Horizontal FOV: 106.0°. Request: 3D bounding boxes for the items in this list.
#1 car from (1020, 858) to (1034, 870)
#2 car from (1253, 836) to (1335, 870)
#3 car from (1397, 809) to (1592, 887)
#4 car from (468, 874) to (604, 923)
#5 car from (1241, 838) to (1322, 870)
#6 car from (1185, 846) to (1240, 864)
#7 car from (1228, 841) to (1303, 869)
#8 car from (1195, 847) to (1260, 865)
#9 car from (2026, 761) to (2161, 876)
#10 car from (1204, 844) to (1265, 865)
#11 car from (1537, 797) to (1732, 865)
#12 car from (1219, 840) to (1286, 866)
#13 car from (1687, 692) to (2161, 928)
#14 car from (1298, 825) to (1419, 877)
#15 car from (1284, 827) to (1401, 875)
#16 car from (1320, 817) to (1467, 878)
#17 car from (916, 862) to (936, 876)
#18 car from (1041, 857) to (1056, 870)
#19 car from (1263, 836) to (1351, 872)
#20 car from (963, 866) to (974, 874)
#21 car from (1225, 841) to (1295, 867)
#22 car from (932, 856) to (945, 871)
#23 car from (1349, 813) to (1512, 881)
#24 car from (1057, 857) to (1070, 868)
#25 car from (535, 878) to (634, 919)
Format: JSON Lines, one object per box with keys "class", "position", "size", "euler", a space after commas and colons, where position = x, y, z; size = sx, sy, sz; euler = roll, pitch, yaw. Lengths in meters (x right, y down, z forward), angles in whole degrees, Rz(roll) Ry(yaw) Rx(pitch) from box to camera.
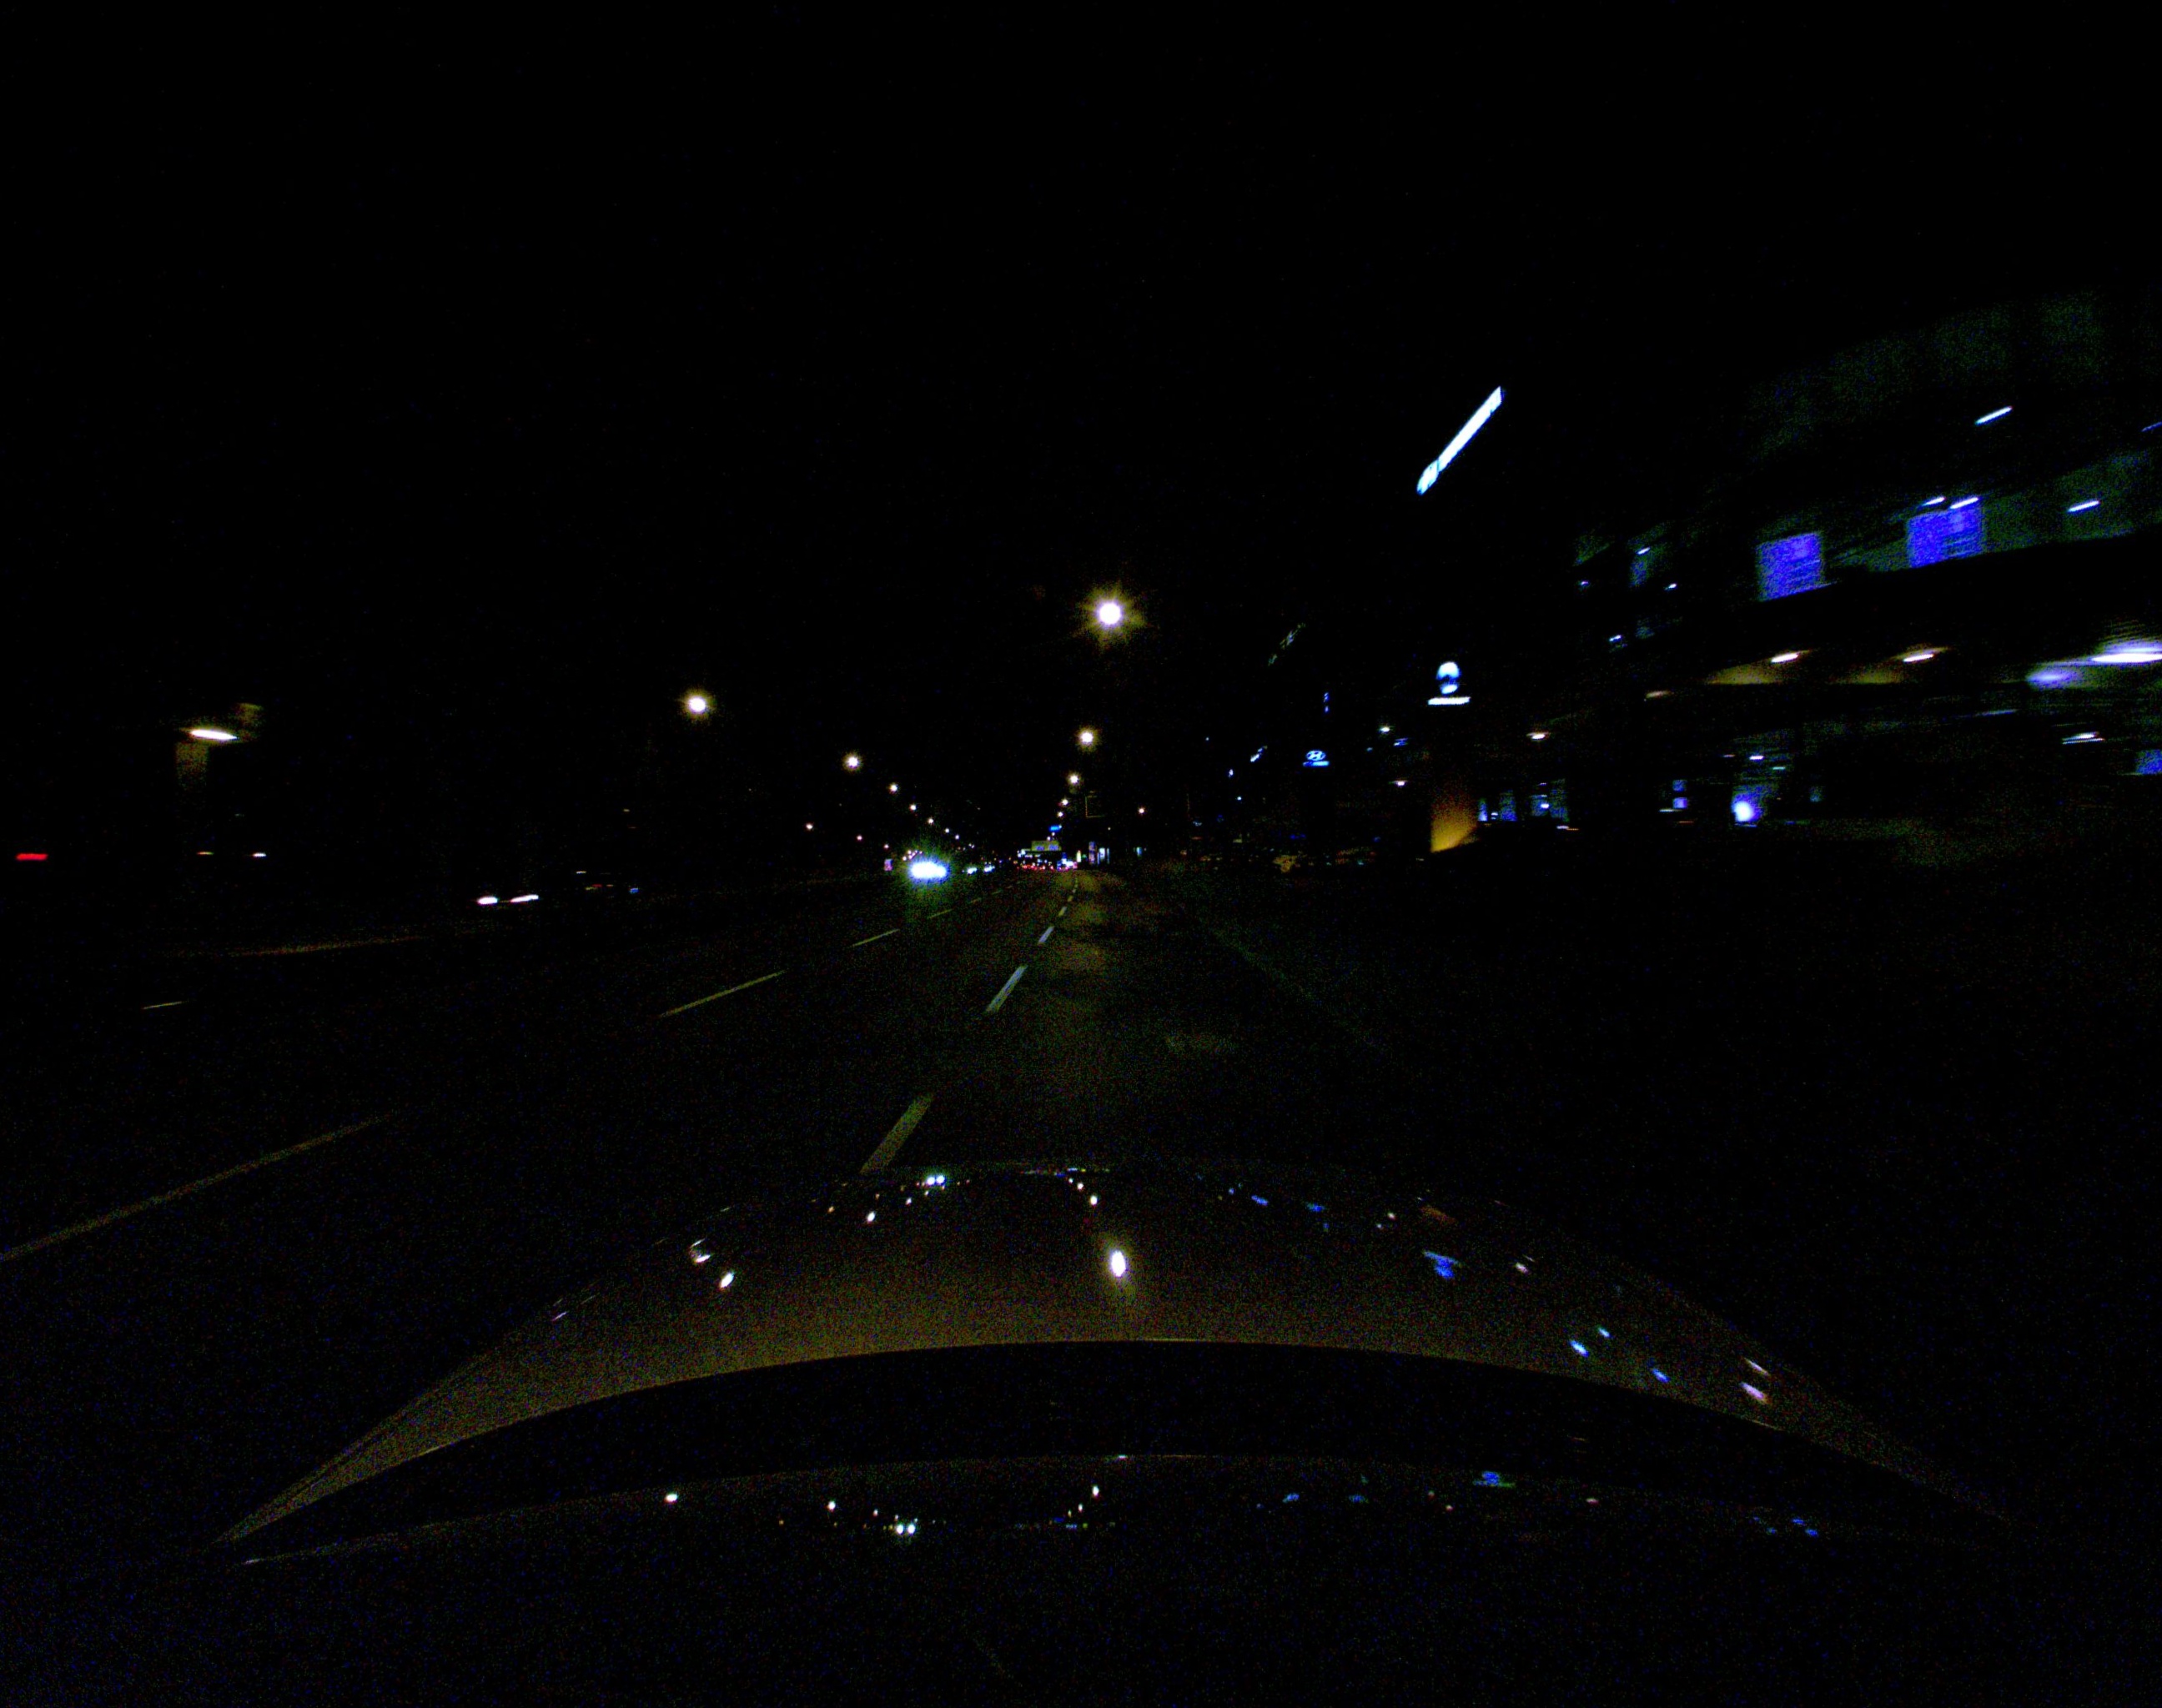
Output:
{"class": "car", "position": [-9.620, 1.833, 145.325], "size": [2.255, 2.014, 4.824], "euler": [-1, -1, 0]}
{"class": "car", "position": [11.298, -0.042, 43.302], "size": [3.773, 1.378, 1.709], "euler": [-6, 0, -14]}
{"class": "car", "position": [10.865, -0.158, 21.529], "size": [4.204, 1.663, 1.954], "euler": [-4, 0, -11]}
{"class": "car", "position": [-18.144, 1.431, 27.364], "size": [1.779, 1.497, 4.173], "euler": [-1, -1, 0]}
{"class": "car", "position": [11.300, -0.002, 45.949], "size": [4.032, 1.373, 1.816], "euler": [-6, 0, -16]}
{"class": "car", "position": [10.860, 0.121, 67.441], "size": [4.127, 1.420, 1.868], "euler": [-1, -1, -14]}
{"class": "car", "position": [11.150, 0.047, 49.289], "size": [3.989, 1.381, 1.802], "euler": [-4, 0, -11]}
{"class": "car", "position": [11.259, 0.153, 62.430], "size": [4.652, 1.264, 1.931], "euler": [-2, 1, -25]}
{"class": "car", "position": [17.261, -0.615, 11.998], "size": [1.813, 1.712, 3.938], "euler": [-4, 0, -22]}
{"class": "car", "position": [11.230, 0.007, 59.758], "size": [3.998, 1.424, 1.898], "euler": [-2, 1, -18]}
{"class": "car", "position": [16.329, -0.637, 24.247], "size": [1.729, 1.510, 4.393], "euler": [-4, -2, -39]}
{"class": "car", "position": [11.447, -0.050, 54.401], "size": [4.000, 1.470, 1.821], "euler": [-4, 0, -20]}
{"class": "car", "position": [12.213, -0.687, 11.770], "size": [6.032, 2.529, 2.271], "euler": [-7, 1, -17]}
{"class": "car", "position": [10.903, -0.116, 32.108], "size": [4.082, 1.568, 1.848], "euler": [-6, 1, -11]}
{"class": "car", "position": [11.400, -0.121, 35.587], "size": [4.461, 1.547, 1.764], "euler": [-6, -1, -10]}
{"class": "car", "position": [11.218, -0.240, 29.369], "size": [4.463, 1.687, 1.993], "euler": [-6, 1, -11]}
{"class": "car", "position": [-20.928, 1.996, 109.905], "size": [1.774, 1.713, 4.226], "euler": [-1, -1, 0]}
{"class": "car", "position": [-5.693, 1.648, 143.137], "size": [2.349, 2.129, 4.824], "euler": [-1, -1, 0]}
{"class": "car", "position": [11.316, -0.008, 40.844], "size": [3.807, 1.453, 1.709], "euler": [-5, 0, -14]}
{"class": "car", "position": [-24.226, 3.499, 175.270], "size": [1.990, 1.594, 3.993], "euler": [-3, 0, -5]}
{"class": "car", "position": [11.340, -0.038, 51.611], "size": [4.004, 1.391, 1.813], "euler": [-4, 1, -22]}
{"class": "car", "position": [-28.607, 1.980, 163.661], "size": [2.147, 2.671, 6.932], "euler": [-4, -1, -12]}
{"class": "car", "position": [11.352, -0.236, 26.558], "size": [4.462, 1.810, 1.993], "euler": [-4, 0, -11]}
{"class": "car", "position": [-3.519, 1.727, 164.602], "size": [2.420, 2.113, 4.824], "euler": [-1, -1, 0]}
{"class": "car", "position": [-20.844, 1.829, 34.381], "size": [1.654, 1.516, 3.912], "euler": [-1, -1, 2]}
